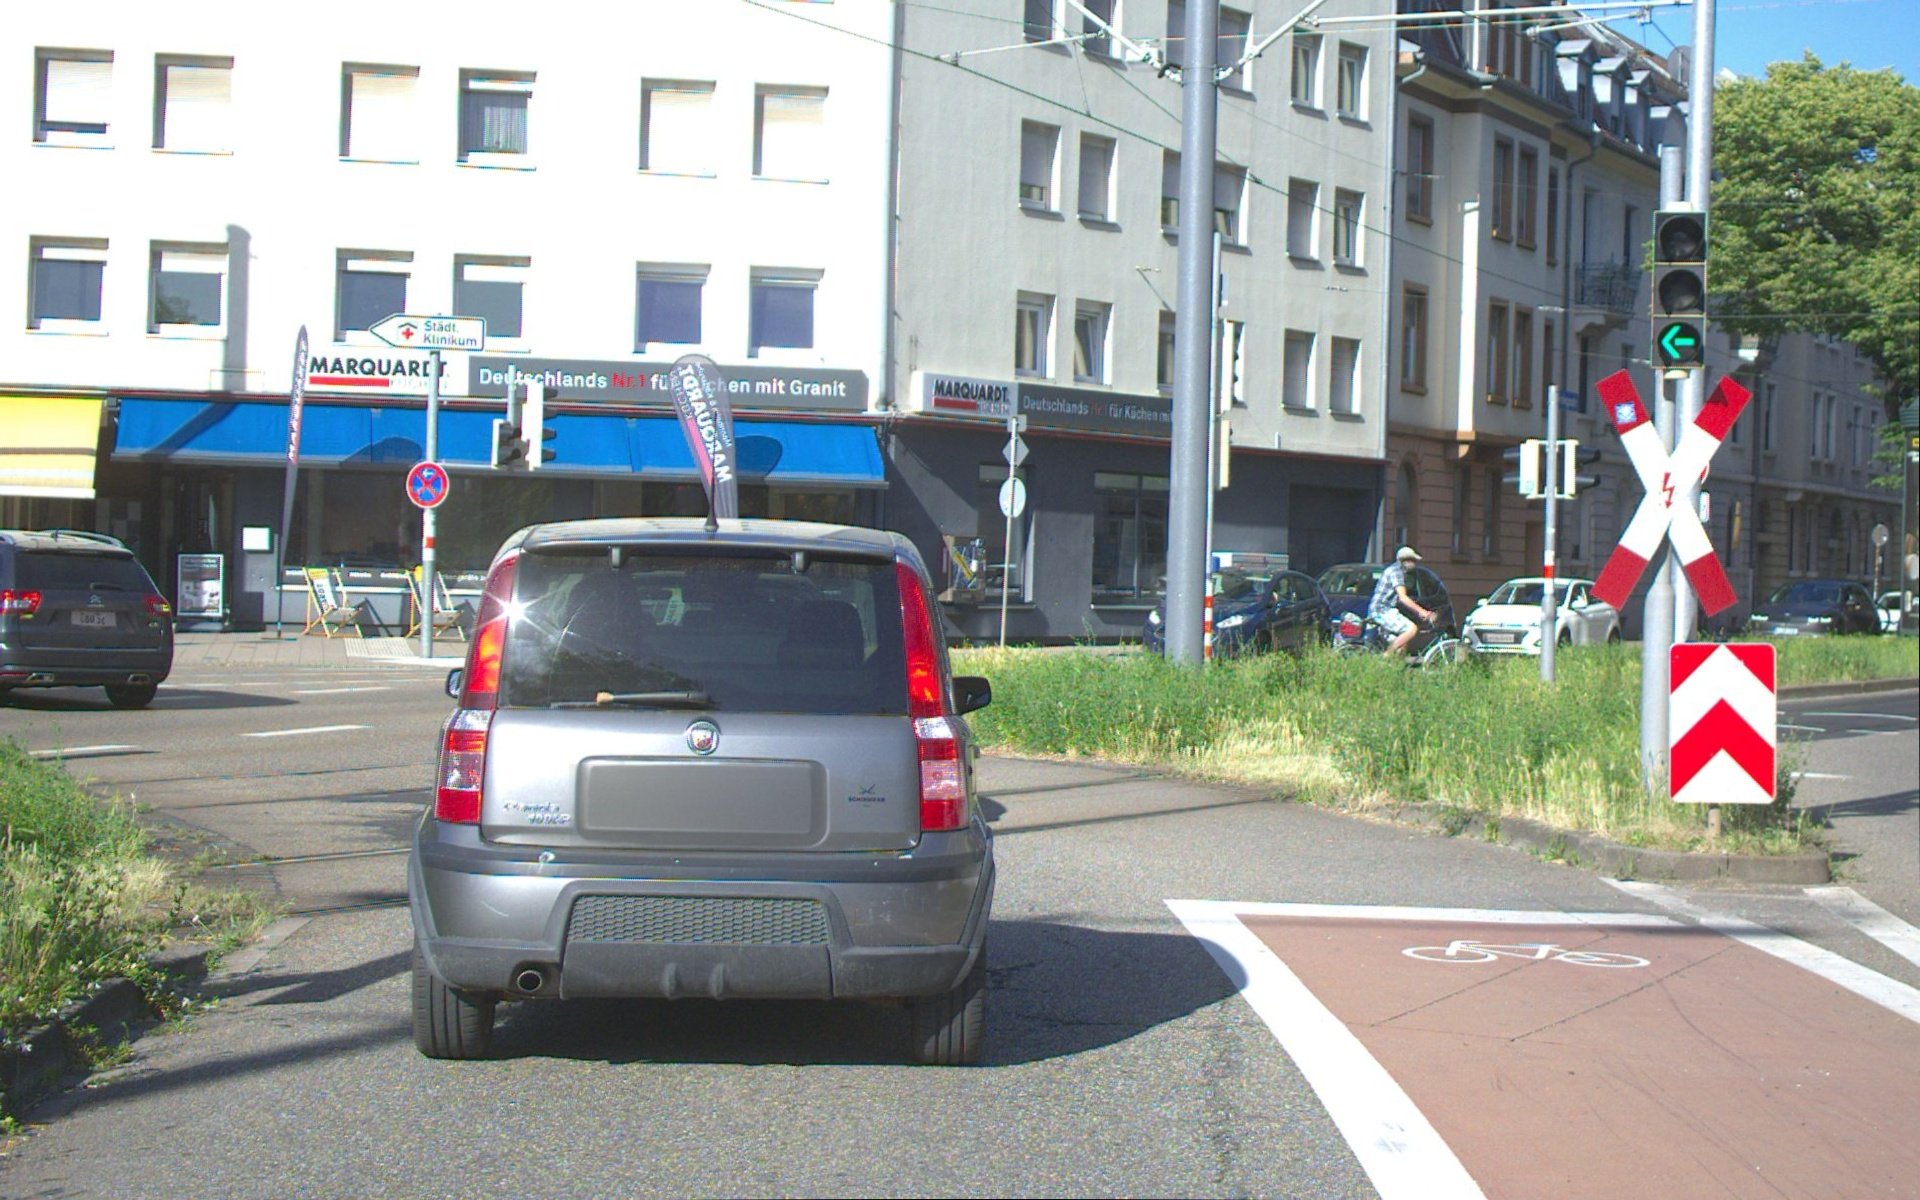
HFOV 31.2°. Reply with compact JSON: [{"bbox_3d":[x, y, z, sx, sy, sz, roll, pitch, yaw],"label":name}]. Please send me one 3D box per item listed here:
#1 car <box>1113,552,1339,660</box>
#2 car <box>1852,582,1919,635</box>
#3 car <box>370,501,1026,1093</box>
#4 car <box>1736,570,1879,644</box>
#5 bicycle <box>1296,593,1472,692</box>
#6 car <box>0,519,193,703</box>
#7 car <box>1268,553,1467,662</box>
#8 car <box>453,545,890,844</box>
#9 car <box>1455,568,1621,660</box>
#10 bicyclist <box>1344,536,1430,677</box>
[{"bbox_3d":[3.733,0.078,47.708,1.793,1.391,3.719,2,1,27],"label":"car"},{"bbox_3d":[26.316,0.244,95.861,1.996,1.390,3.994,2,1,26],"label":"car"},{"bbox_3d":[-0.857,0.496,10.564,1.659,1.505,3.252,2,1,-6],"label":"car"},{"bbox_3d":[18.228,0.152,73.855,1.997,1.468,3.994,2,1,29],"label":"car"},{"bbox_3d":[4.771,0.469,38.692,1.853,1.029,0.588,2,1,19],"label":"bicycle"},{"bbox_3d":[-8.431,0.039,29.770,1.760,1.481,4.292,1,1,-38],"label":"car"},{"bbox_3d":[6.314,0.106,52.964,1.793,1.560,3.760,2,1,27],"label":"car"},{"bbox_3d":[-1.673,0.450,18.769,1.620,1.424,3.689,2,1,-16],"label":"car"},{"bbox_3d":[9.989,0.241,59.255,1.793,1.478,3.526,2,1,27],"label":"car"},{"bbox_3d":[4.806,0.071,38.681,0.822,1.553,0.561,2,1,19],"label":"bicyclist"}]
